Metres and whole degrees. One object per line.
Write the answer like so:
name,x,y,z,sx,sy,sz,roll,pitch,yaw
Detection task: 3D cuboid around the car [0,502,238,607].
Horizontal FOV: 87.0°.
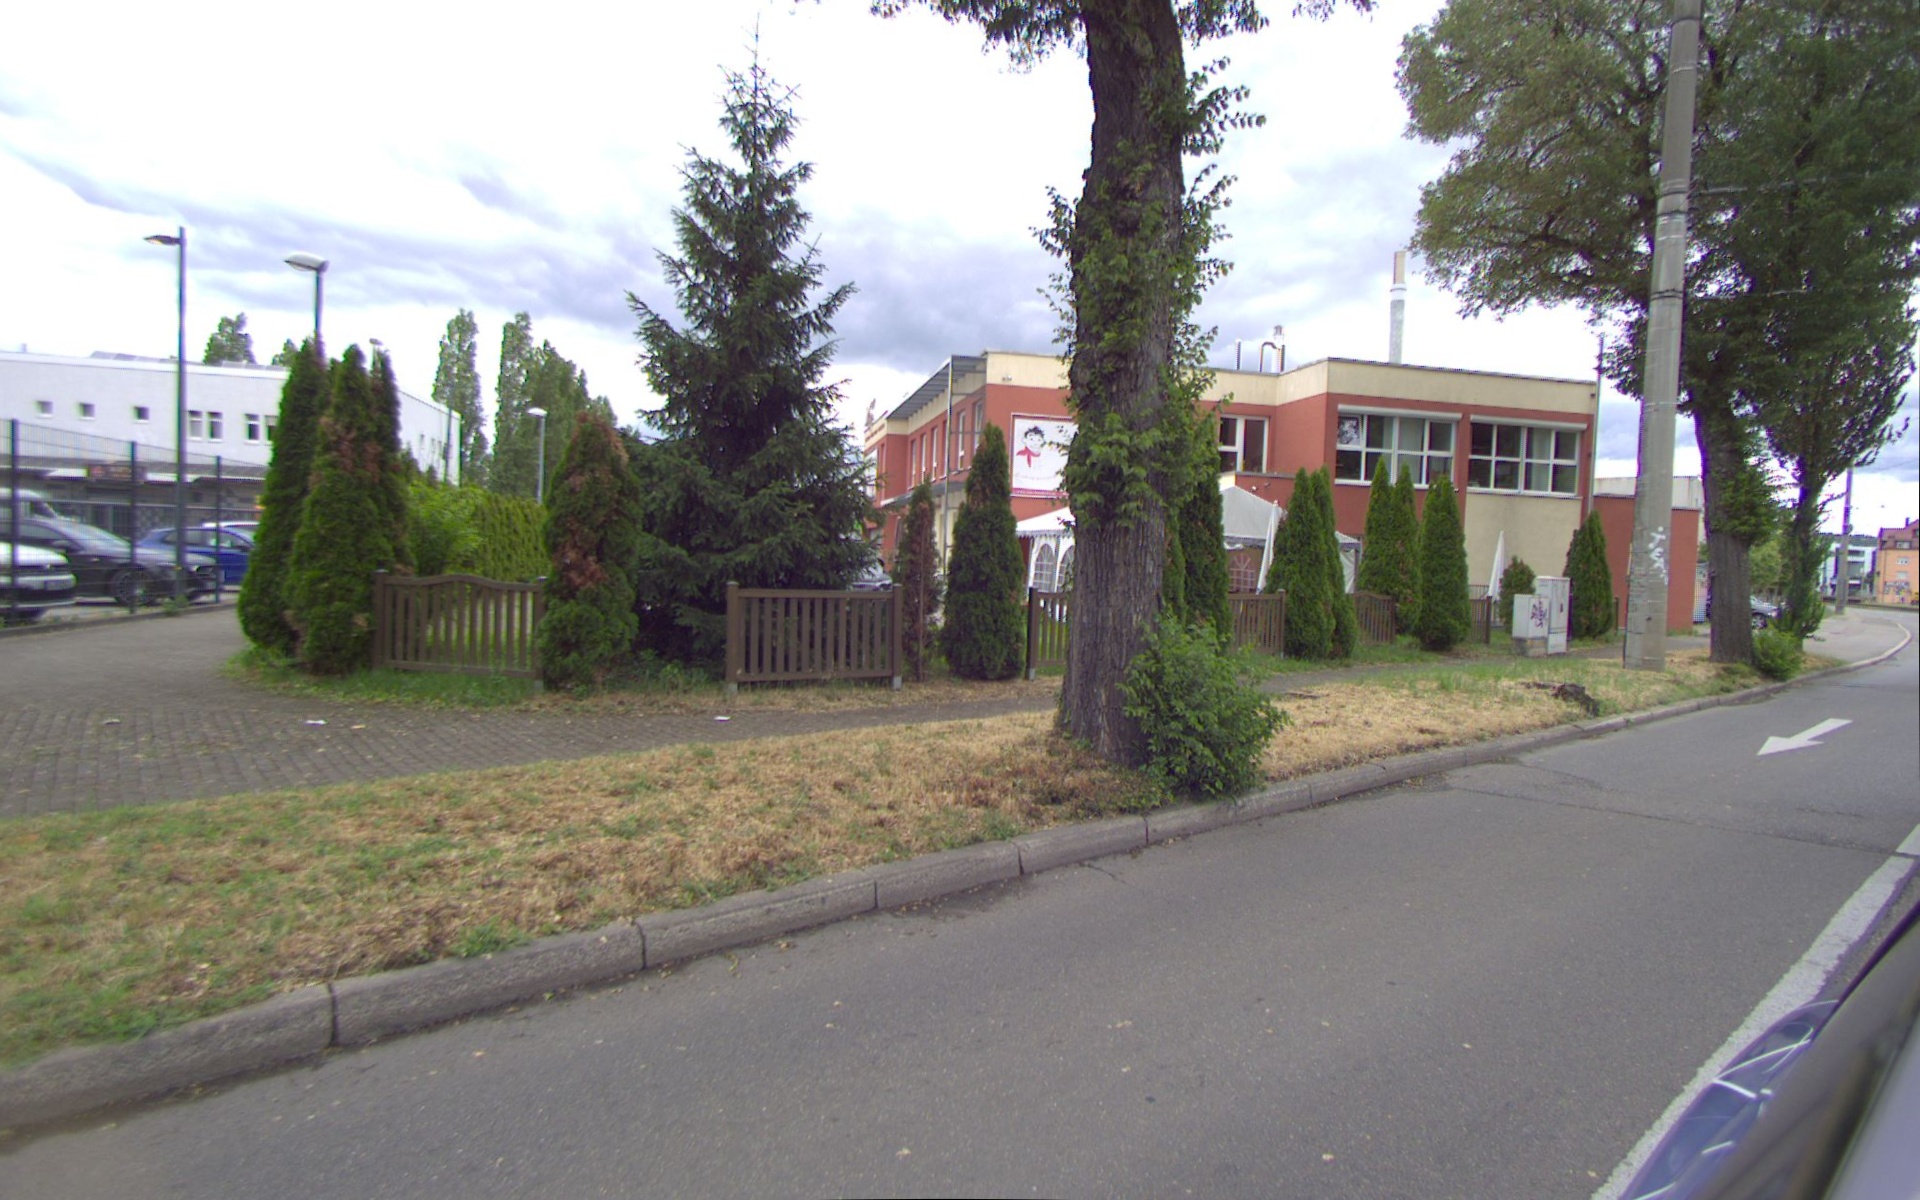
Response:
car,-15.561,-0.806,17.651,4.407,1.686,2.005,1,2,-14

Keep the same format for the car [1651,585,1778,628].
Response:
car,30.852,0.245,41.432,3.986,1.666,1.867,0,0,43

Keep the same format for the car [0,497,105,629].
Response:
car,-14.437,-0.555,13.345,4.407,1.686,2.005,1,2,-14

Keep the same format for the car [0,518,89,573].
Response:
car,-30.722,-1.718,32.142,4.181,1.670,2.004,0,0,-17

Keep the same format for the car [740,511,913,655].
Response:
car,-2.306,-0.262,16.468,1.958,2.039,4.008,0,0,-20

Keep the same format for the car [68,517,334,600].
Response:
car,-17.023,-0.920,22.957,4.407,1.686,2.005,1,2,-14

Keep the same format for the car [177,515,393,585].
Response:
car,-17.980,-1.317,27.190,4.407,1.686,2.005,1,2,-14
